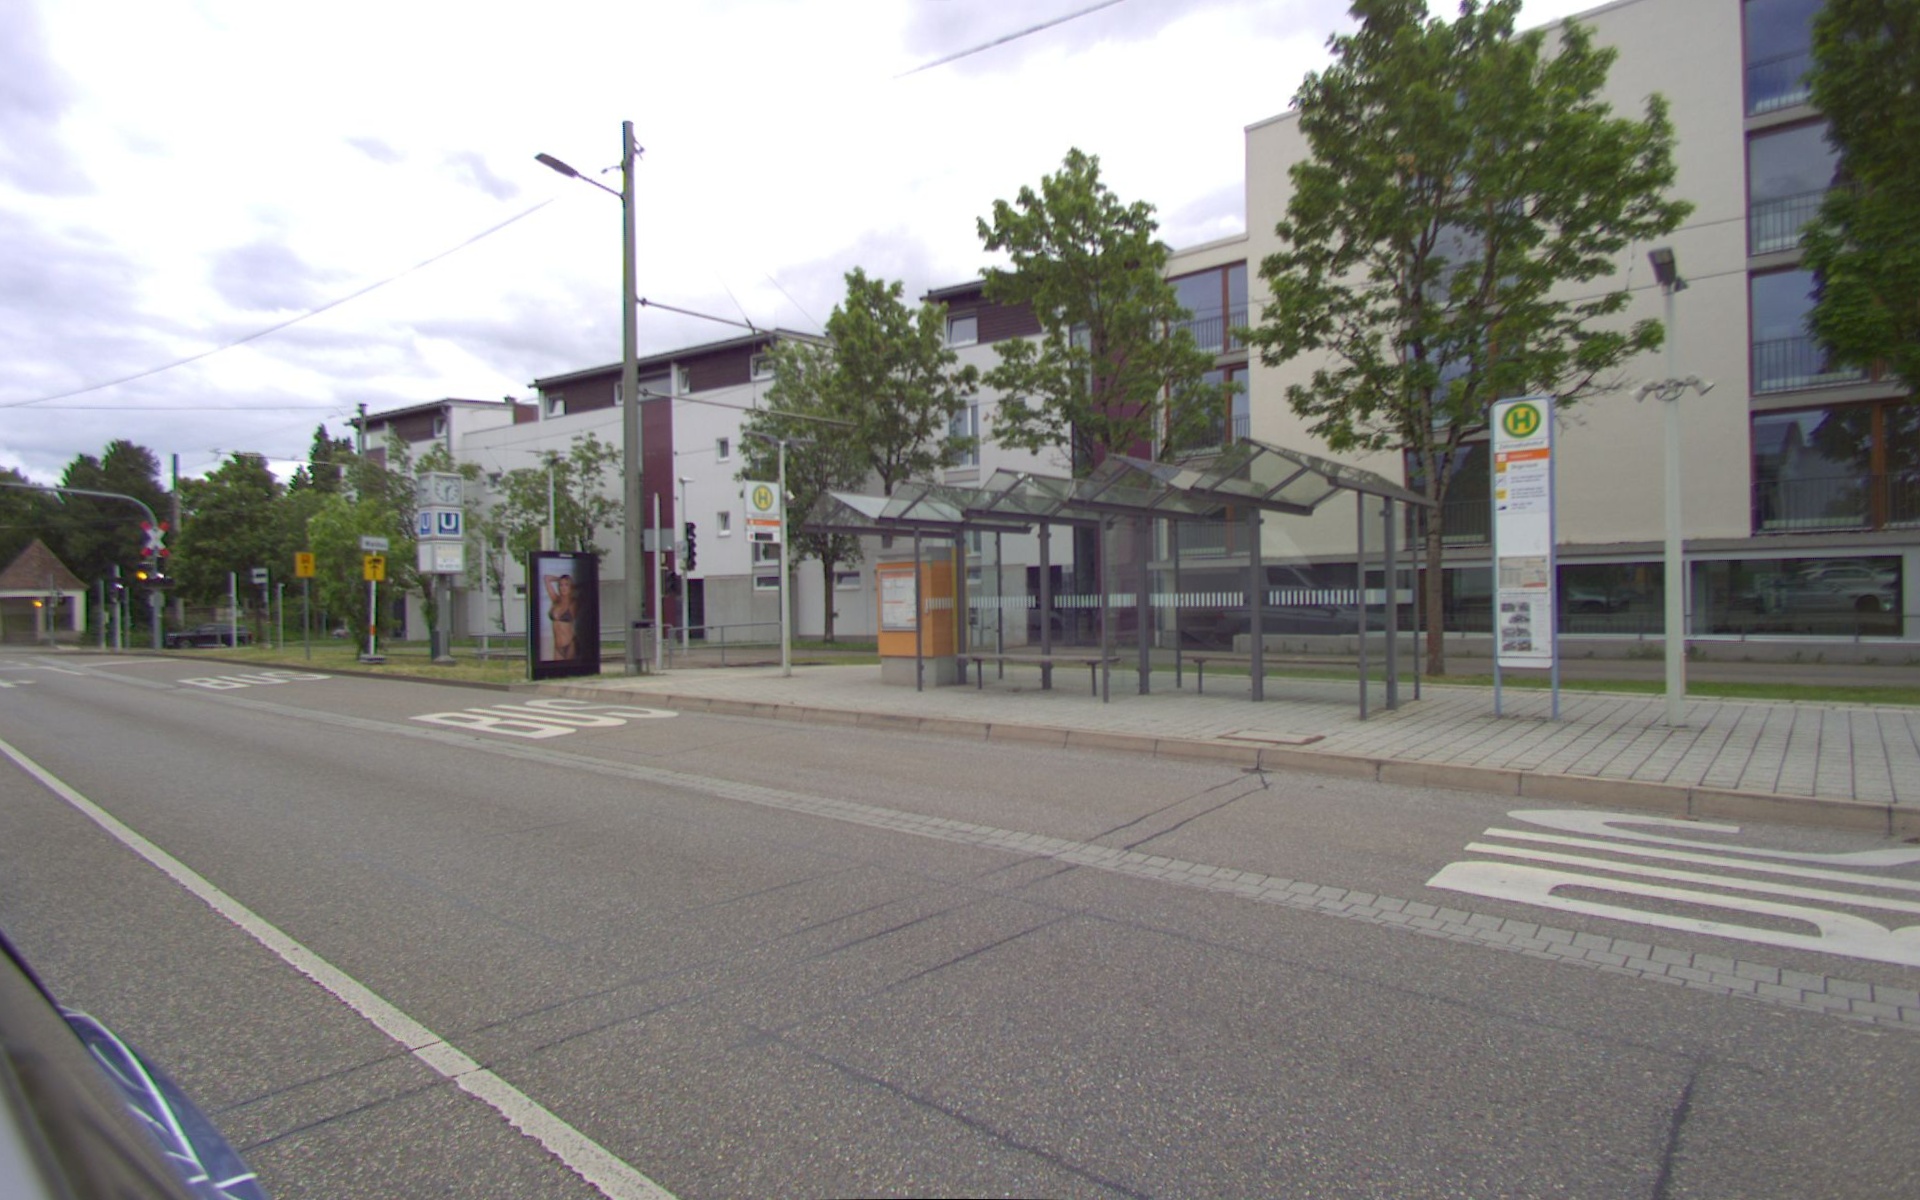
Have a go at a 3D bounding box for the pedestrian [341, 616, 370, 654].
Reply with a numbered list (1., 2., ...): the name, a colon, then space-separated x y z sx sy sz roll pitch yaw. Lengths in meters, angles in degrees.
1. pedestrian: -25.607 1.473 42.879 0.778 1.607 0.773 -1 0 32

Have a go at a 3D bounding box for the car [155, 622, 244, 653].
1. car: -46.432 2.287 61.842 1.925 1.719 3.950 -1 0 37
